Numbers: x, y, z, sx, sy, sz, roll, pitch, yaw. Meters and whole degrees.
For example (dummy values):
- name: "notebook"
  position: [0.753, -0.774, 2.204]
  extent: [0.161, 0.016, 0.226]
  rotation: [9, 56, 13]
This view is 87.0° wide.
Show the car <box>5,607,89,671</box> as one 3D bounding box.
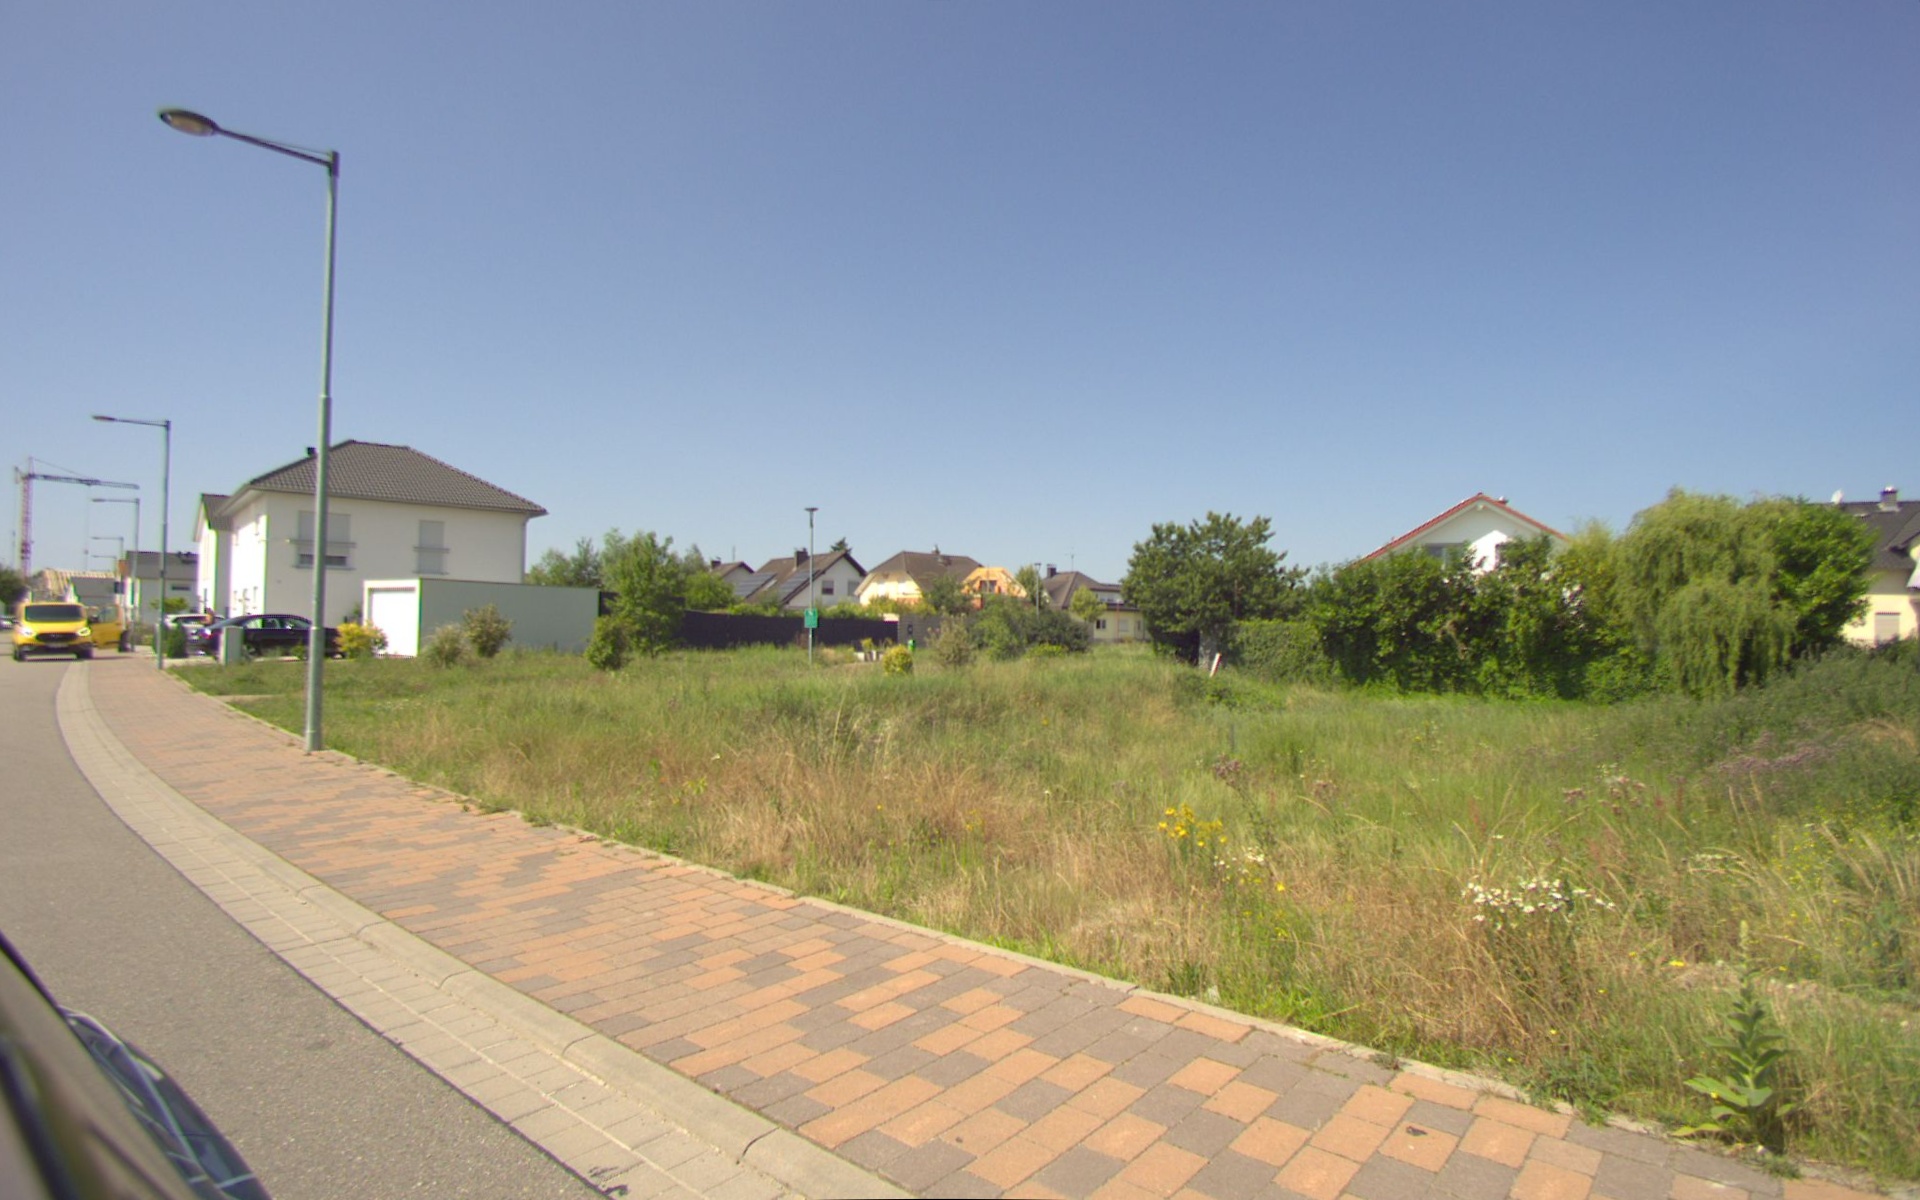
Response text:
- name: "car"
  position: [-31.456, 1.297, 34.825]
  extent: [4.843, 2.029, 1.862]
  rotation: [-1, -2, 45]

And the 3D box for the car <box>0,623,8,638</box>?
- name: "car"
  position: [-94.553, 2.966, 99.344]
  extent: [1.471, 1.408, 3.277]
  rotation: [2, -2, -41]

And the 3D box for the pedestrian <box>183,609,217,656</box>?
- name: "pedestrian"
  position: [-27.950, 1.189, 37.233]
  extent: [0.917, 1.698, 0.539]
  rotation: [-1, -1, -32]

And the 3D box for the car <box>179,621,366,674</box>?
- name: "car"
  position: [-20.655, 1.382, 30.578]
  extent: [1.745, 1.463, 4.354]
  rotation: [-1, -1, 35]

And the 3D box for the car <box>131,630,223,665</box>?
- name: "car"
  position: [-43.623, 2.636, 56.437]
  extent: [3.937, 1.866, 2.003]
  rotation: [2, -2, -41]
